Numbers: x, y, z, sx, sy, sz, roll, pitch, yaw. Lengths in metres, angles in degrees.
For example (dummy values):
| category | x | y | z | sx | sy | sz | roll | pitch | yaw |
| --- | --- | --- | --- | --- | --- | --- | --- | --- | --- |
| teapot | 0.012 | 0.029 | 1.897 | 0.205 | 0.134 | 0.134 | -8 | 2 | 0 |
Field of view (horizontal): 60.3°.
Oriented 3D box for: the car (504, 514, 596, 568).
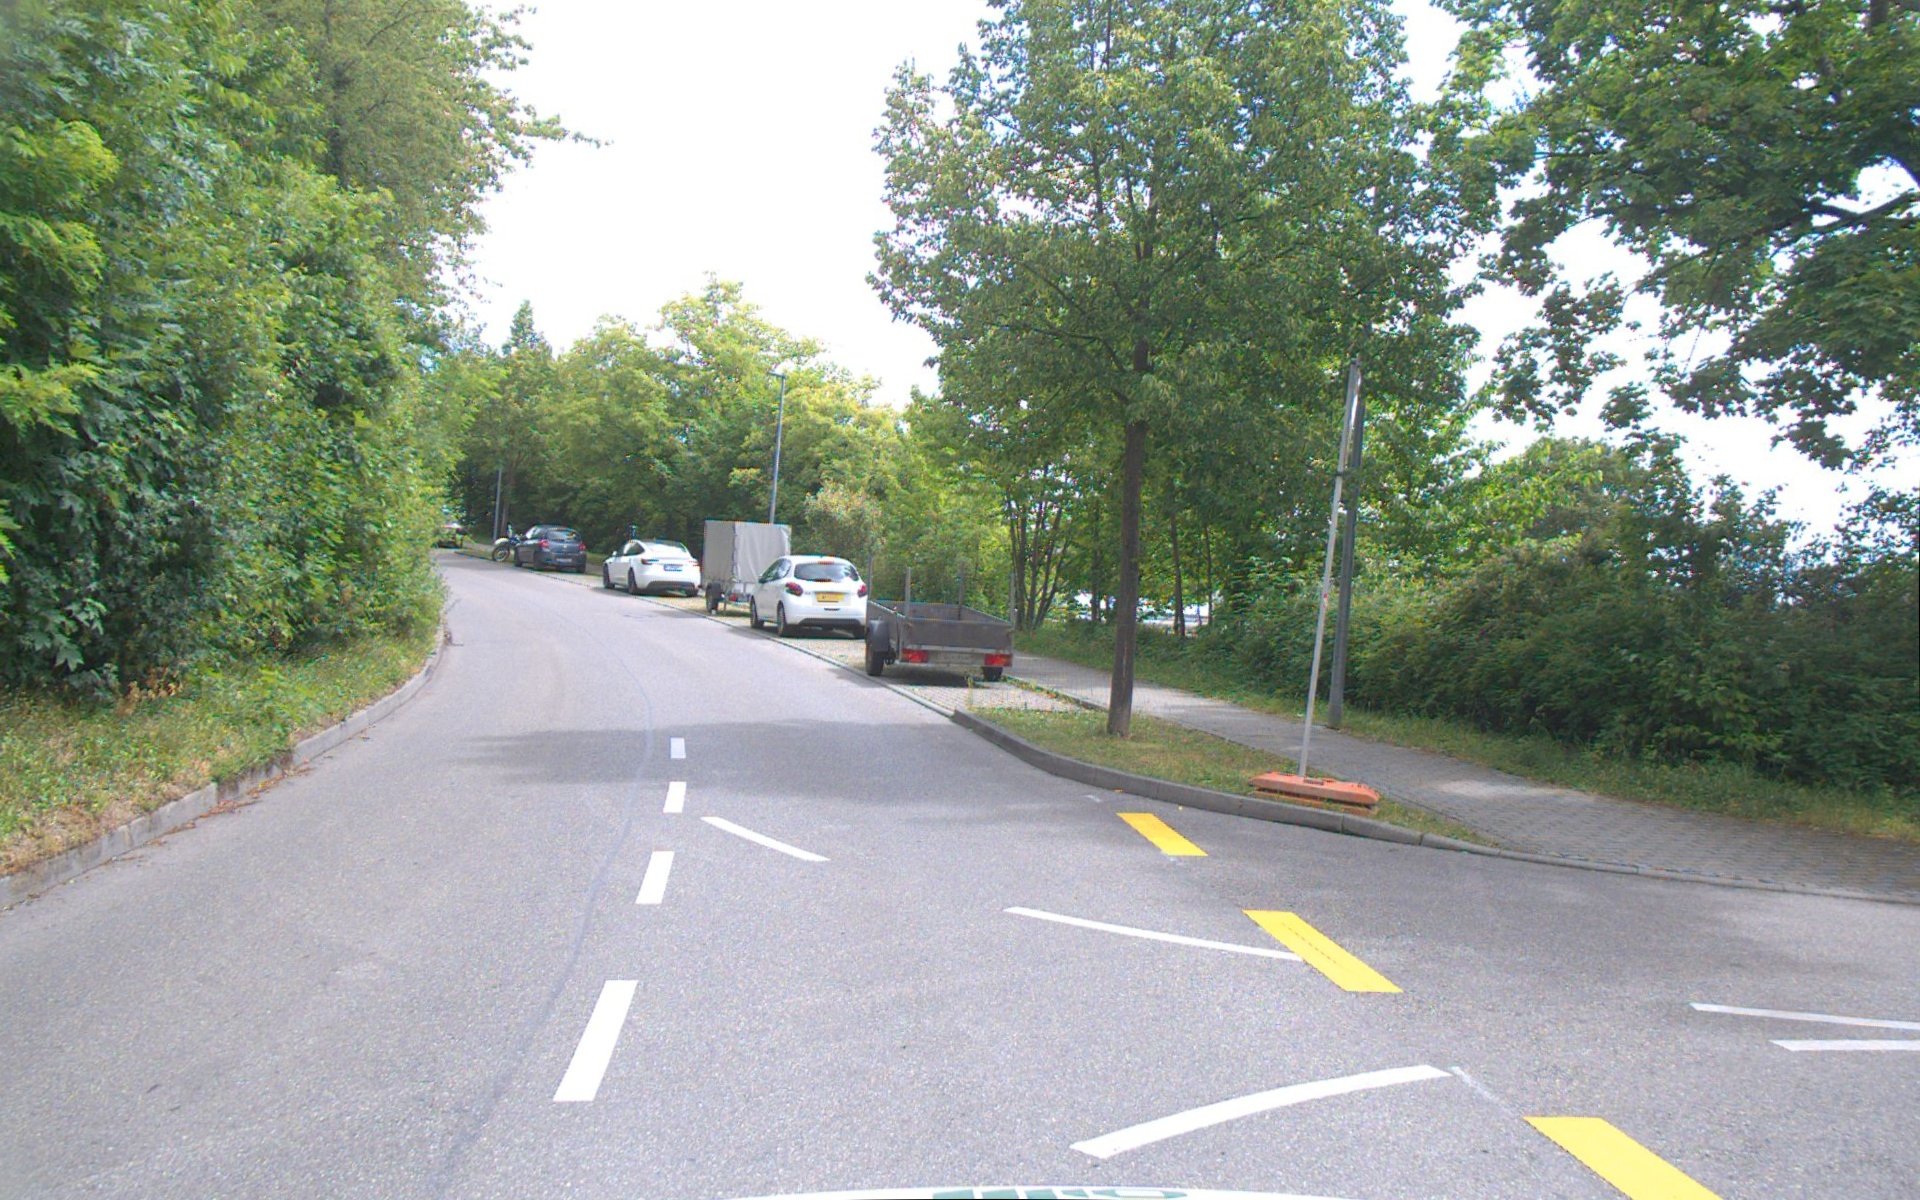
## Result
| category | x | y | z | sx | sy | sz | roll | pitch | yaw |
| --- | --- | --- | --- | --- | --- | --- | --- | --- | --- |
| car | -13.929 | -2.023 | 56.045 | 1.867 | 1.716 | 4.307 | -1 | 4 | -31 |

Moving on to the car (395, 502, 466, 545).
| category | x | y | z | sx | sy | sz | roll | pitch | yaw |
| --- | --- | --- | --- | --- | --- | --- | --- | --- | --- |
| car | -22.095 | -3.206 | 68.953 | 1.824 | 1.542 | 3.957 | 2 | 3 | -33 |

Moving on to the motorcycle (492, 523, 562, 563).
| category | x | y | z | sx | sy | sz | roll | pitch | yaw |
| --- | --- | --- | --- | --- | --- | --- | --- | --- | --- |
| motorcycle | -15.495 | -2.065 | 59.201 | 2.121 | 1.287 | 1.071 | 3 | 4 | 8 |

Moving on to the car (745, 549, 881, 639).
| category | x | y | z | sx | sy | sz | roll | pitch | yaw |
| --- | --- | --- | --- | --- | --- | --- | --- | --- | --- |
| car | -2.903 | -0.155 | 31.850 | 1.741 | 1.435 | 3.982 | 2 | 3 | -18 |

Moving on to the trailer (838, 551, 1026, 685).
| category | x | y | z | sx | sy | sz | roll | pitch | yaw |
| --- | --- | --- | --- | --- | --- | --- | --- | --- | --- |
| trailer | -0.484 | 0.186 | 22.879 | 1.753 | 1.552 | 3.988 | 2 | 2 | -13 |

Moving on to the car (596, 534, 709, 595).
| category | x | y | z | sx | sy | sz | roll | pitch | yaw |
| --- | --- | --- | --- | --- | --- | --- | --- | --- | --- |
| car | -8.494 | -1.002 | 45.418 | 1.864 | 1.399 | 4.315 | 2 | 2 | -27 |

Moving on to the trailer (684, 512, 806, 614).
| category | x | y | z | sx | sy | sz | roll | pitch | yaw |
| --- | --- | --- | --- | --- | --- | --- | --- | --- | --- |
| trailer | -4.997 | -0.892 | 37.985 | 1.717 | 2.147 | 3.973 | 1 | 2 | -23 |
